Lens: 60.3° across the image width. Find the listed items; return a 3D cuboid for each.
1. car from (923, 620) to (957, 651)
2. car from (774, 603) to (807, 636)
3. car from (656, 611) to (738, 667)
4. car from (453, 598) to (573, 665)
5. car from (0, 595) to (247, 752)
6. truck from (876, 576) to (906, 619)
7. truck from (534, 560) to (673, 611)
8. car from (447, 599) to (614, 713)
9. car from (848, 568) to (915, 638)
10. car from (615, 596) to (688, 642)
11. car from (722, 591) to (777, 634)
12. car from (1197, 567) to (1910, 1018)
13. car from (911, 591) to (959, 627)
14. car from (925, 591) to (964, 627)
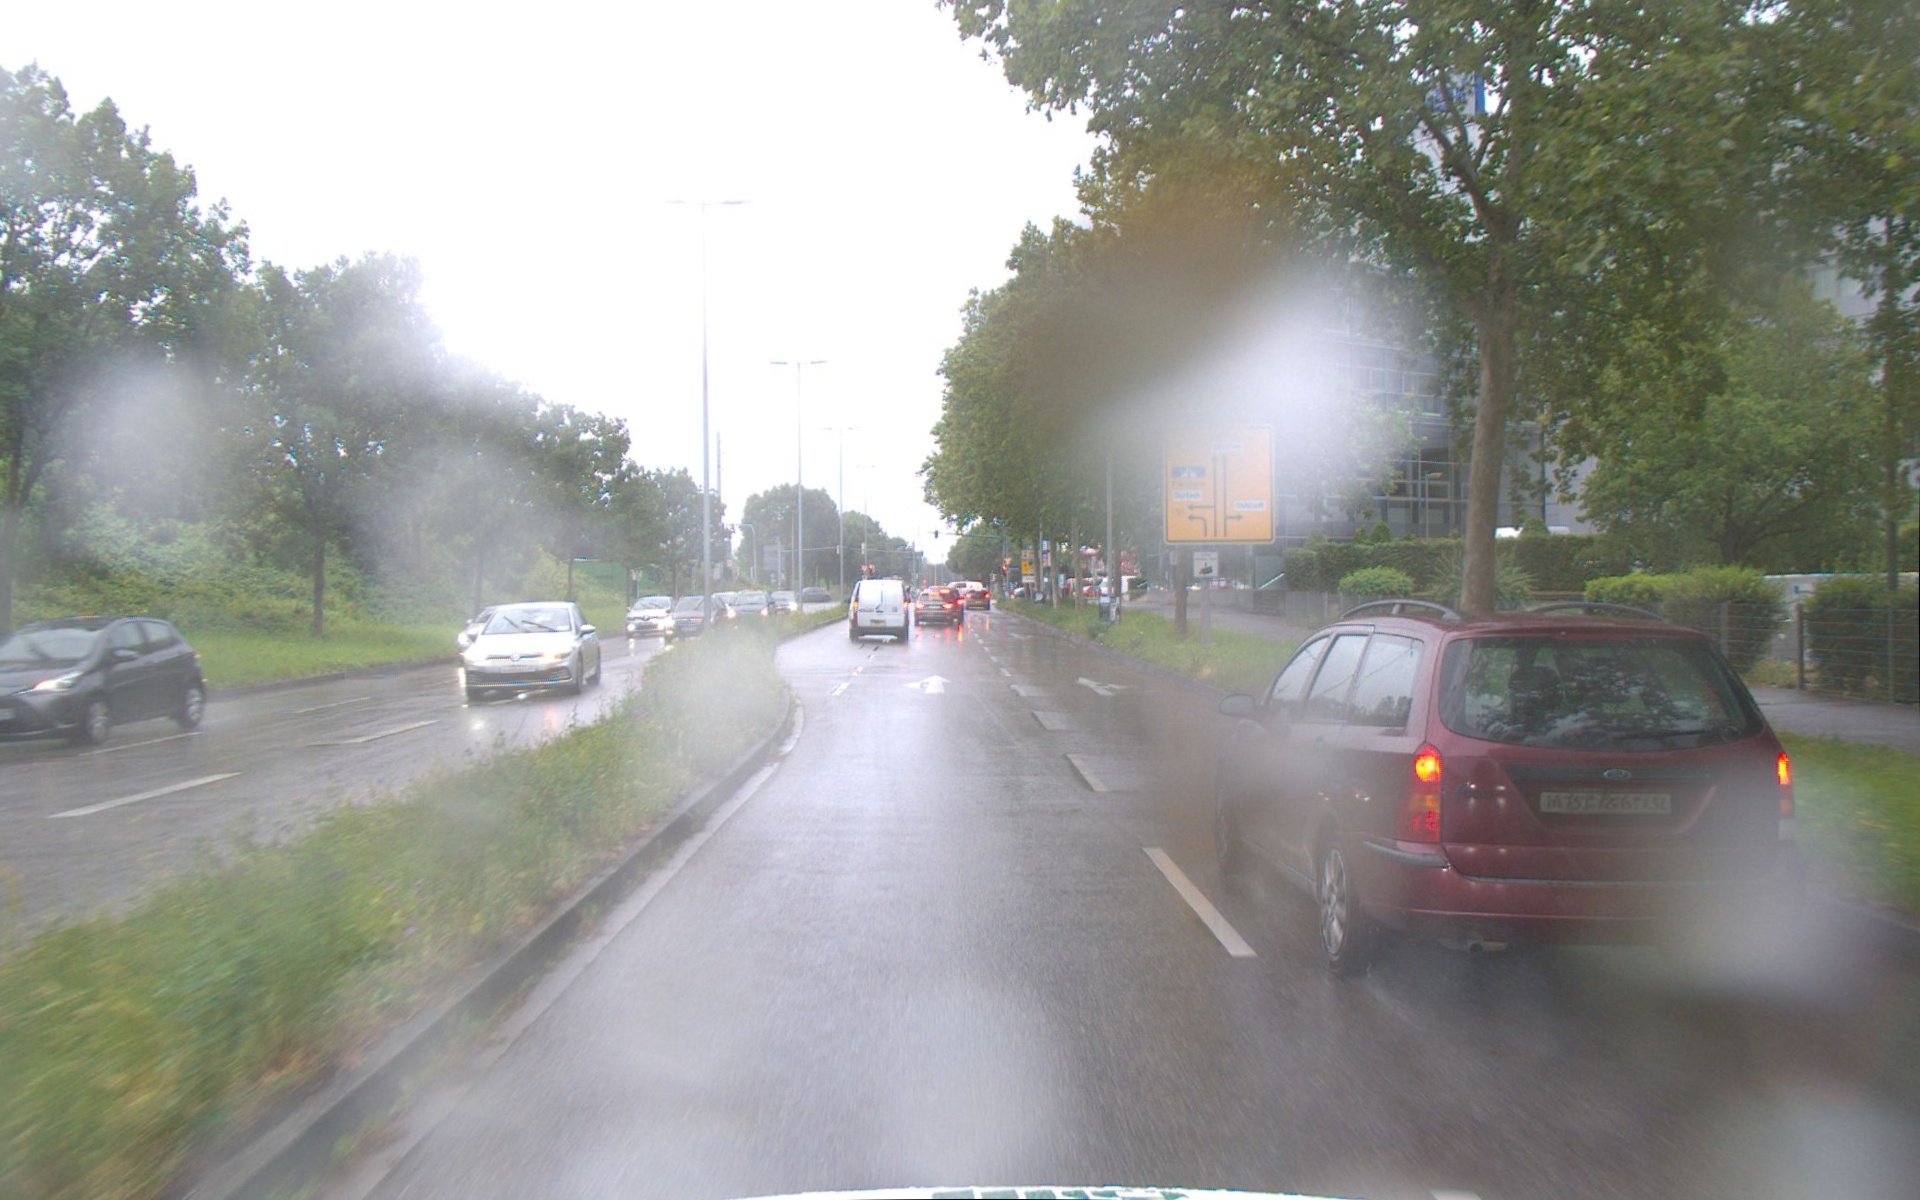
[{"bbox_3d":[-1.025,1.781,84.970,1.676,1.470,3.999,0,0,-1],"label":"car"},{"bbox_3d":[-8.853,0.995,86.641,1.687,1.646,4.341,0,0,-5],"label":"car"},{"bbox_3d":[-8.530,1.234,54.031,1.870,1.601,4.708,-3,0,-1],"label":"car"},{"bbox_3d":[-11.183,0.752,41.653,1.798,1.528,4.439,-2,0,-1],"label":"car"},{"bbox_3d":[-10.958,0.831,20.763,1.953,1.717,4.708,-2,0,-1],"label":"car"},{"bbox_3d":[-4.150,-0.132,99.884,1.721,2.509,3.998,0,0,-2],"label":"truck"},{"bbox_3d":[-26.548,-1.003,123.597,10.036,3.512,2.622,1,-2,-38],"label":"truck"},{"bbox_3d":[-6.896,0.838,27.030,1.872,1.601,4.703,-2,0,-6],"label":"car"},{"bbox_3d":[-2.360,0.131,50.335,1.953,2.049,3.998,0,-1,-2],"label":"car"},{"bbox_3d":[-11.771,0.697,63.359,1.870,1.601,4.708,-3,0,-1],"label":"car"},{"bbox_3d":[-8.795,0.499,69.478,1.787,1.602,4.360,1,2,-1],"label":"car"},{"bbox_3d":[2.382,0.688,7.846,1.802,1.563,4.110,1,0,-2],"label":"car"},{"bbox_3d":[-1.091,0.375,70.599,1.953,1.478,3.998,1,0,-2],"label":"car"},{"bbox_3d":[-0.747,0.415,76.804,1.674,1.577,3.998,0,1,-2],"label":"car"}]
